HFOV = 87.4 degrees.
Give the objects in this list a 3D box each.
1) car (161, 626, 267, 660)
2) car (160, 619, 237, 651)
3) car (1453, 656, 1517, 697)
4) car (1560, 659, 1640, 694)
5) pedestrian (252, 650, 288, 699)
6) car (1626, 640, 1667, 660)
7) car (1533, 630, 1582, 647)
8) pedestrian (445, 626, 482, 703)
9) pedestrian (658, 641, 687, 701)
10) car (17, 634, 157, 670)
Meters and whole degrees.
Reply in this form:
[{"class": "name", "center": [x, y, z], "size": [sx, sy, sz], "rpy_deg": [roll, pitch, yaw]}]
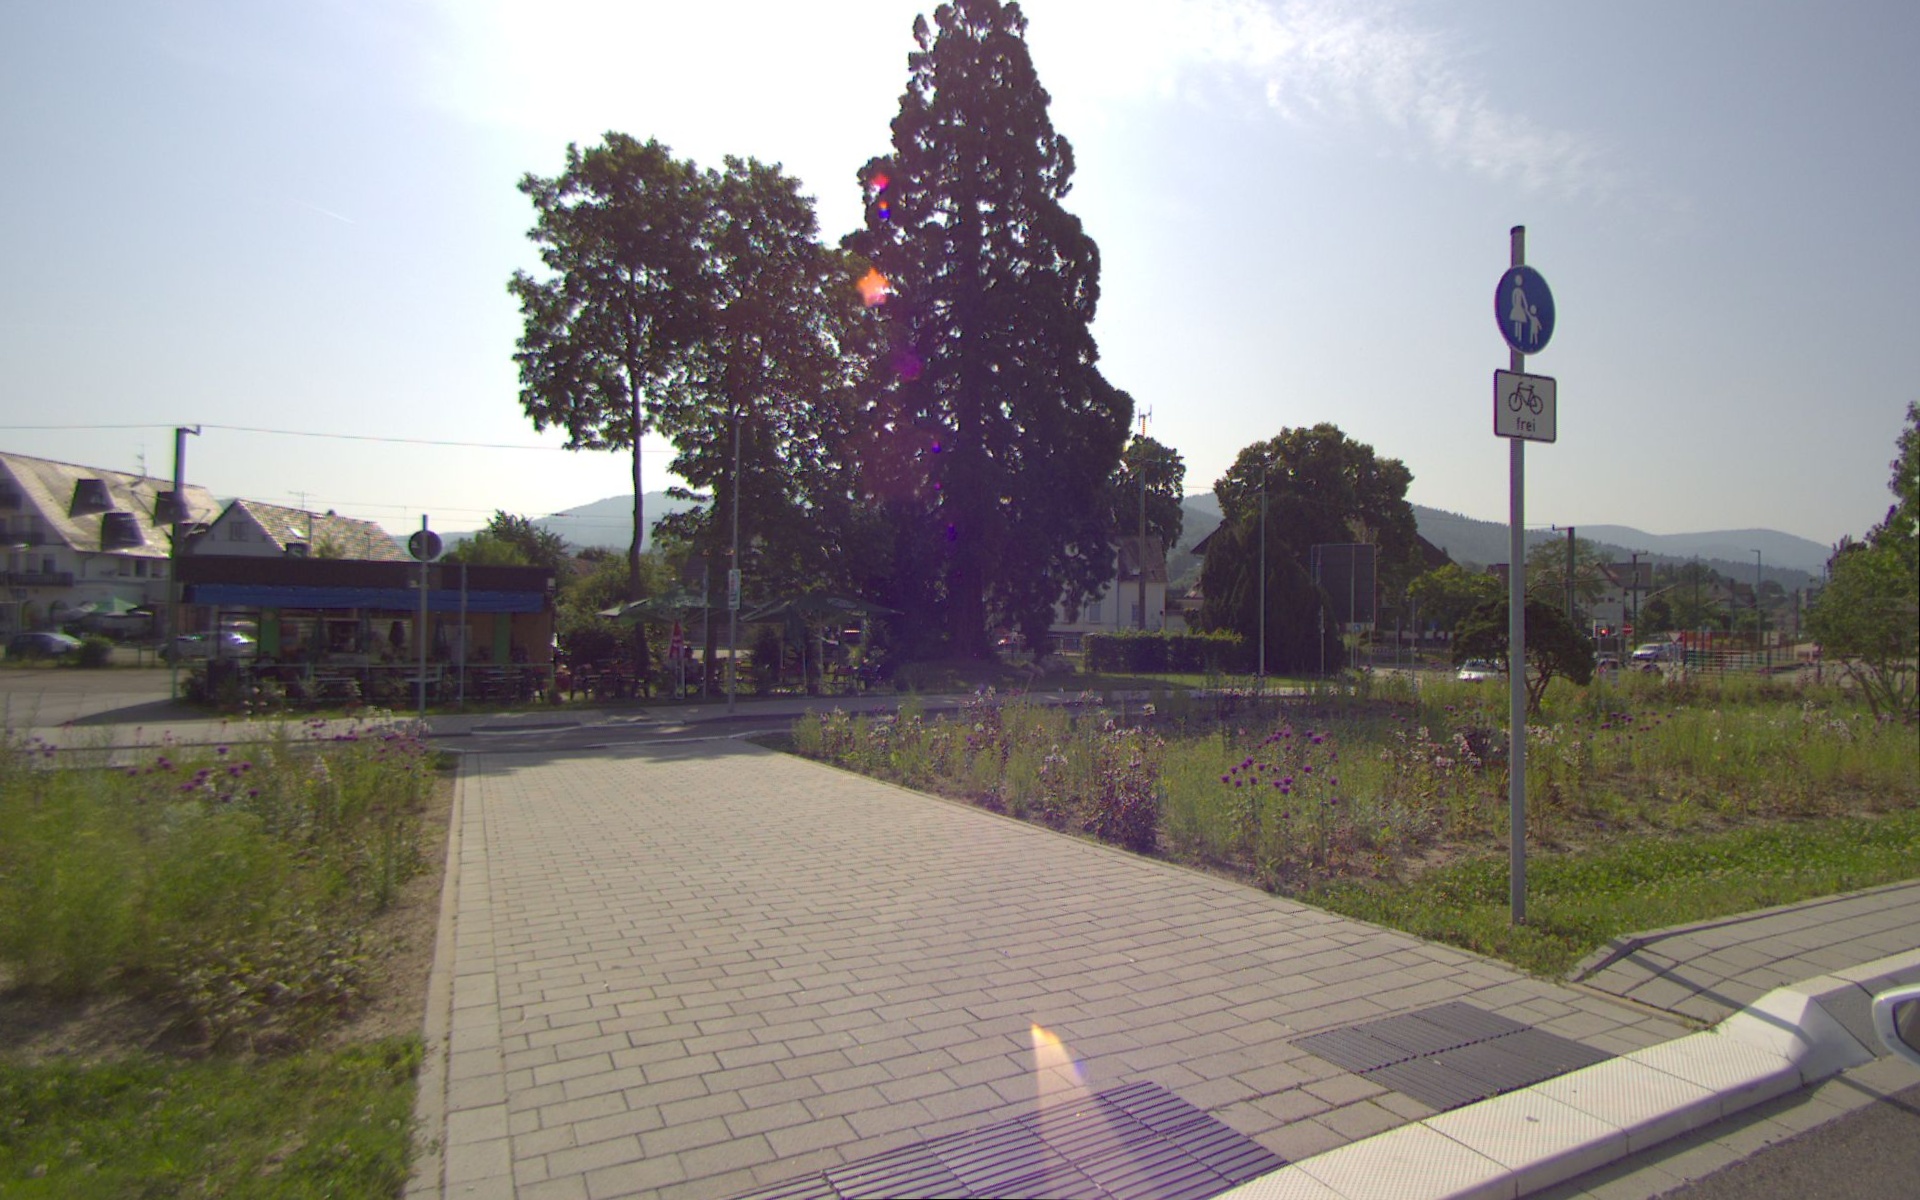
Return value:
[{"class": "car", "center": [-38.234, 2.180, 51.581], "size": [3.929, 1.640, 1.779], "rpy_deg": [0, 1, -11]}, {"class": "car", "center": [-45.539, 2.066, 60.203], "size": [1.803, 1.751, 3.996], "rpy_deg": [1, 1, -5]}, {"class": "car", "center": [21.300, 3.042, 40.678], "size": [1.649, 1.551, 3.985], "rpy_deg": [-2, -3, 37]}, {"class": "car", "center": [32.143, 3.813, 50.582], "size": [1.680, 1.416, 4.001], "rpy_deg": [1, 1, 5]}, {"class": "pedestrian", "center": [-17.260, 1.855, 25.122], "size": [0.672, 1.179, 0.555], "rpy_deg": [1, 1, -29]}, {"class": "car", "center": [55.638, 4.003, 81.370], "size": [3.965, 1.416, 1.695], "rpy_deg": [1, 1, -39]}, {"class": "car", "center": [60.413, 3.880, 101.619], "size": [1.702, 1.416, 3.948], "rpy_deg": [0, 1, -43]}, {"class": "pedestrian", "center": [-13.674, 1.749, 27.662], "size": [0.703, 2.041, 0.849], "rpy_deg": [0, 1, -40]}, {"class": "pedestrian", "center": [-8.010, 1.955, 27.971], "size": [0.563, 1.611, 0.642], "rpy_deg": [0, 1, -40]}, {"class": "car", "center": [-33.020, 1.934, 38.093], "size": [3.683, 1.193, 1.422], "rpy_deg": [0, 1, -20]}]
